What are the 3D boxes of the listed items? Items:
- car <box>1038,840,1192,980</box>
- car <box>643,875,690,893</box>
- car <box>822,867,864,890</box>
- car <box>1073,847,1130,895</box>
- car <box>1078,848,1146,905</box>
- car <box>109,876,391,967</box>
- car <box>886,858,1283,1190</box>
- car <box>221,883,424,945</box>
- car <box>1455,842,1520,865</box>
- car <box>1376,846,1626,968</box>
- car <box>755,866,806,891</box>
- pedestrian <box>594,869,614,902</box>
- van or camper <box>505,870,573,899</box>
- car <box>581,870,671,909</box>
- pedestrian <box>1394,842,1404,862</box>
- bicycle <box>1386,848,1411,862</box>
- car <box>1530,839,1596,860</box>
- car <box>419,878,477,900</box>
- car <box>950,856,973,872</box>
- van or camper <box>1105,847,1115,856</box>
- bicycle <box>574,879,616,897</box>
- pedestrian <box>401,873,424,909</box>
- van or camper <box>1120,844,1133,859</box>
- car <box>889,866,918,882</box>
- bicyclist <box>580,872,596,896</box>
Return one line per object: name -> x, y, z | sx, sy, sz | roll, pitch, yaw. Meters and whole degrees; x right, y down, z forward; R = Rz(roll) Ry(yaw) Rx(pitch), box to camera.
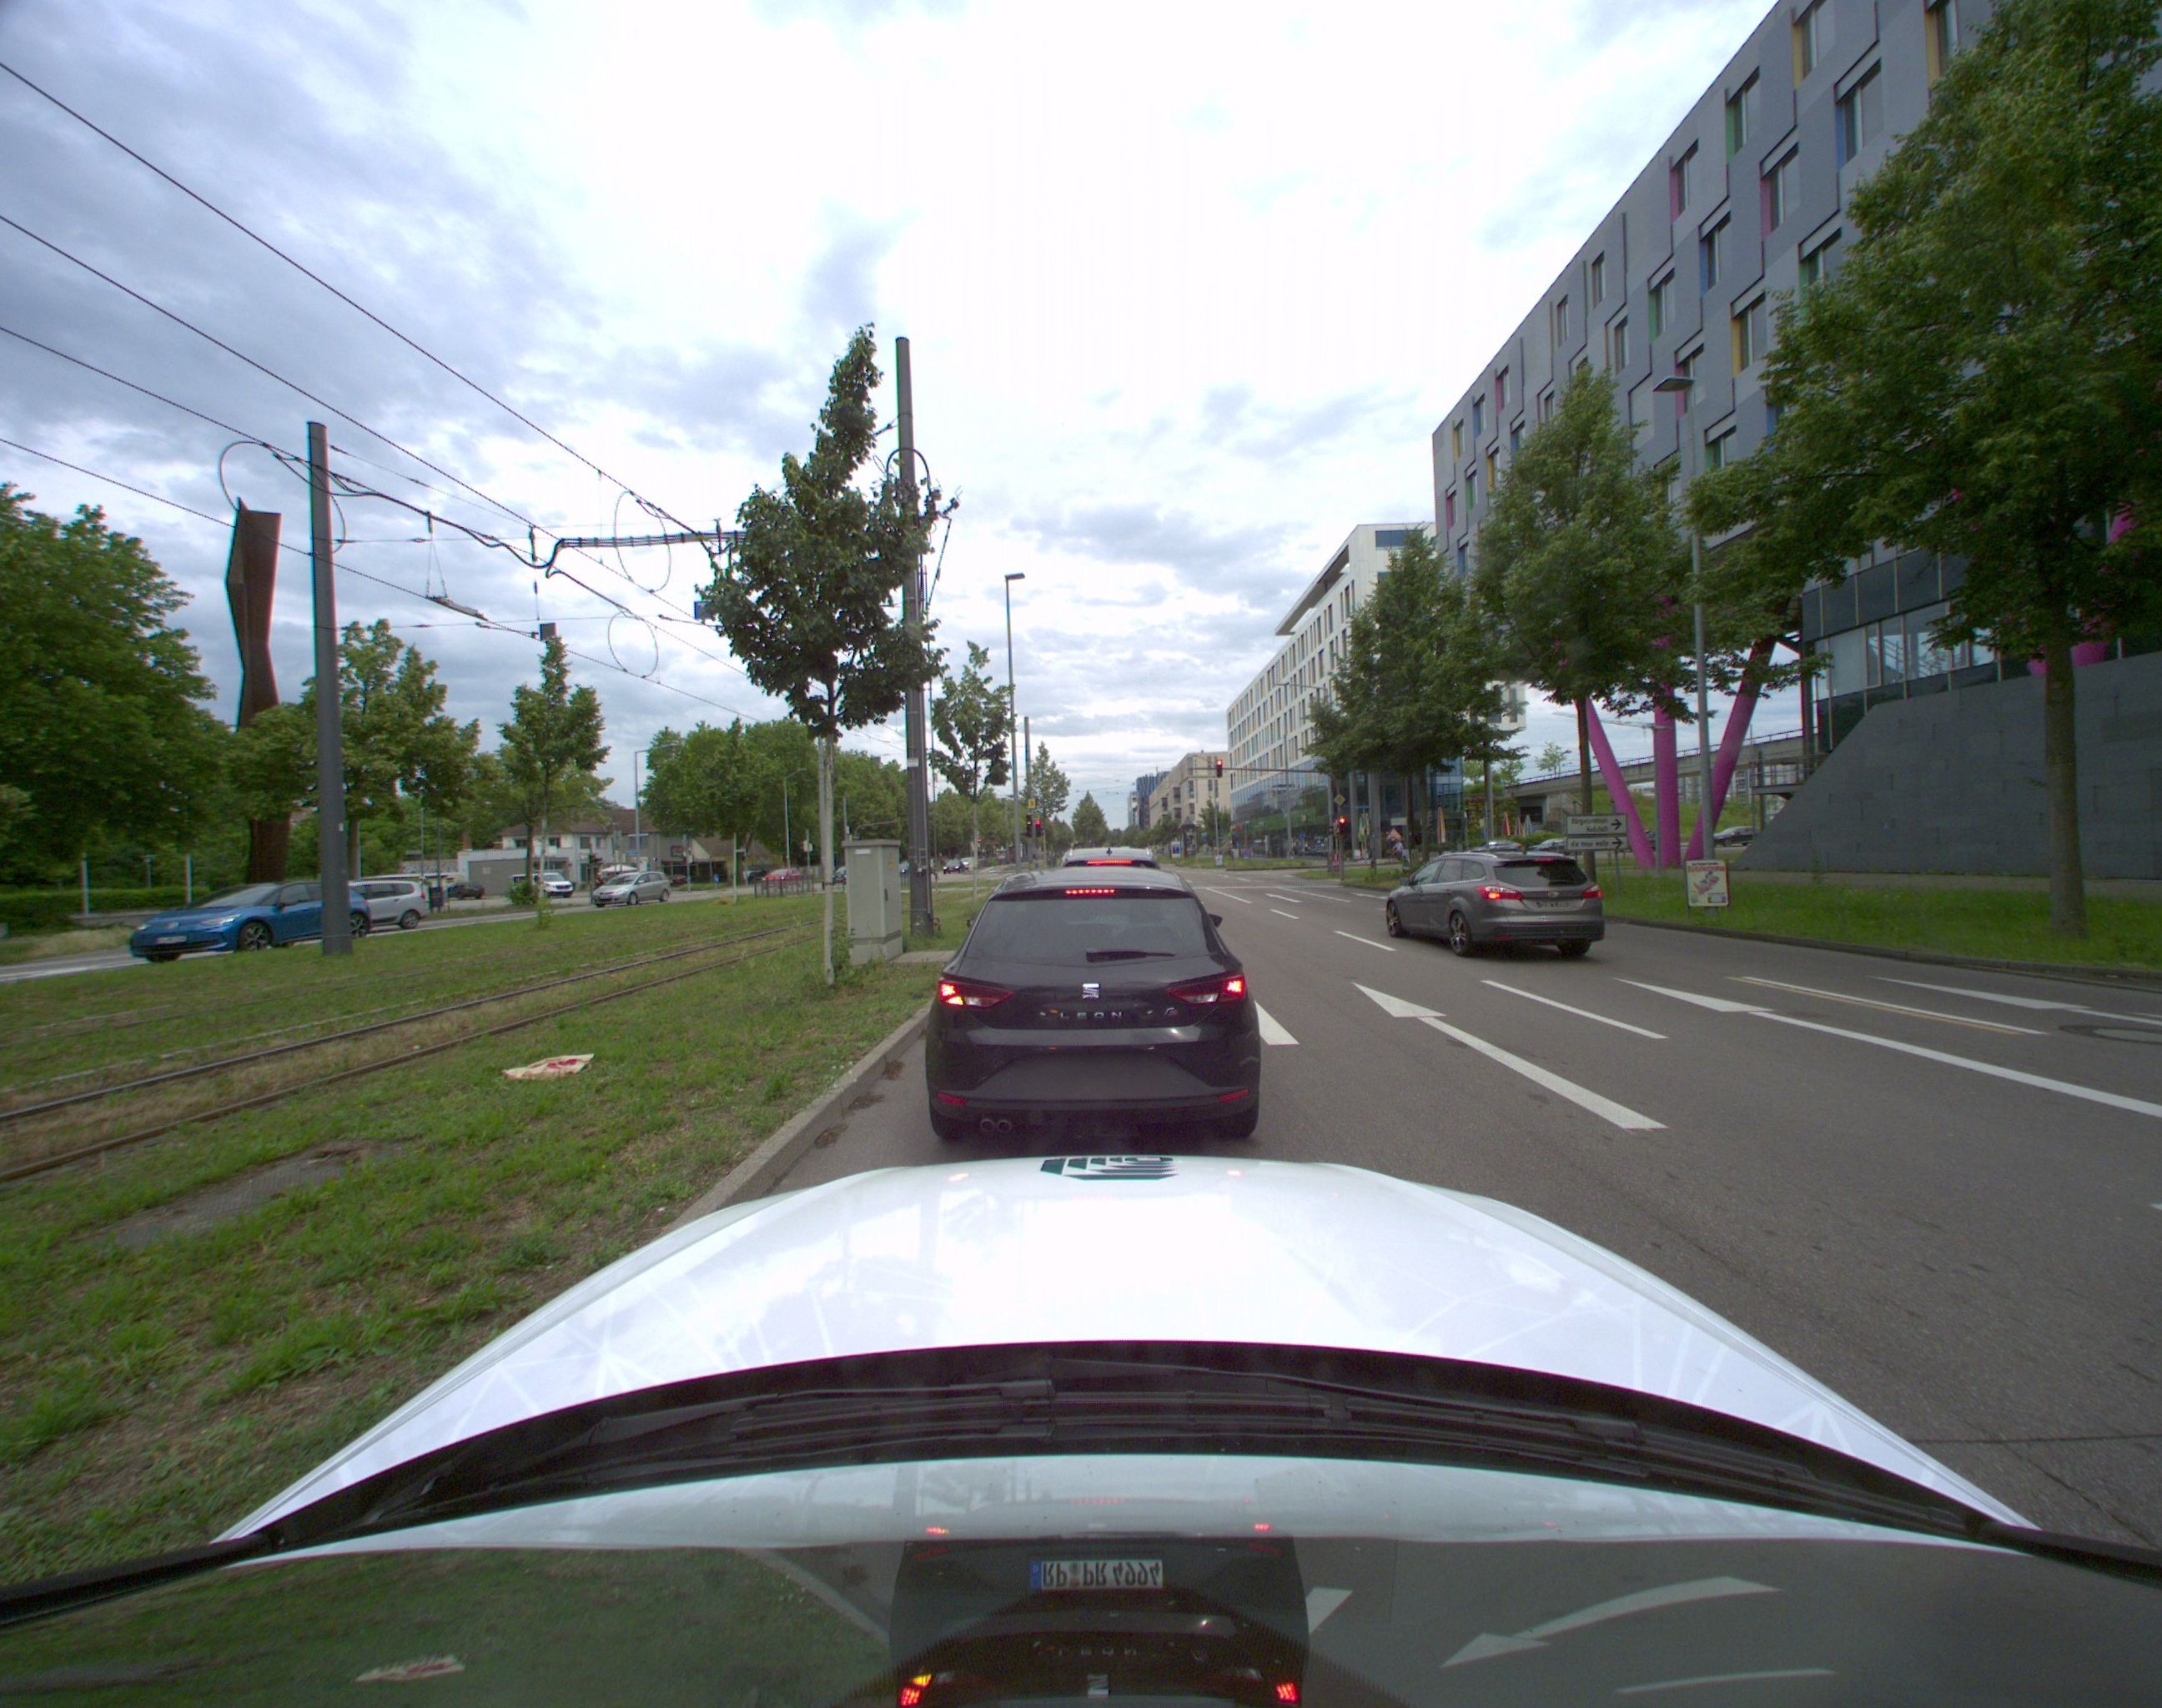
car -> 0.474, 0.673, 11.824 | 1.796, 1.624, 4.002 | -2, 0, 2
car -> -47.142, 3.371, 92.716 | 4.258, 1.816, 2.111 | -2, 0, 6
car -> -17.997, 1.825, 61.769 | 1.658, 1.426, 4.746 | -3, 0, 1
car -> 0.848, 0.601, 31.276 | 1.985, 1.682, 4.004 | -1, 0, 4
car -> 1.077, 0.656, 26.205 | 1.984, 1.682, 4.005 | -1, 0, 5
car -> -18.257, 1.369, 18.308 | 1.963, 1.588, 4.675 | -1, 0, -8
car -> 0.052, 0.759, 5.602 | 1.737, 1.417, 4.001 | -1, 0, 1
car -> -22.518, 1.712, 24.482 | 1.790, 1.571, 4.578 | 0, -1, 0
car -> 31.844, -0.055, 63.873 | 4.233, 1.615, 1.759 | -2, 0, 3
car -> 6.211, 0.663, 12.672 | 1.741, 1.499, 4.270 | -2, 1, 1
car -> -21.589, 1.739, 58.726 | 1.789, 1.570, 4.331 | -2, 0, 3
pedestrian -> -27.712, 1.811, 47.320 | 0.779, 1.832, 0.771 | -2, 0, -16
van or camper -> -41.570, 2.321, 62.413 | 5.212, 2.013, 2.481 | -2, 0, 34
car -> -22.151, 1.688, 39.886 | 1.715, 1.643, 4.674 | -2, 0, 0
pedestrian -> 25.713, -0.179, 65.856 | 0.612, 1.604, 0.619 | -2, 0, 4
bicycle -> 25.677, 0.085, 65.857 | 1.784, 1.085, 0.618 | -2, 0, 3
car -> 37.860, -0.349, 64.050 | 4.063, 1.455, 1.759 | -2, 0, 3
car -> -59.857, 3.315, 77.058 | 3.969, 1.849, 2.002 | -2, 0, 4
car -> -14.076, 1.162, 95.999 | 1.987, 1.750, 4.201 | -2, 0, 1
van or camper -> 5.998, -0.508, 165.772 | 1.986, 1.615, 4.792 | -1, 1, 2
bicycle -> -35.300, 2.474, 59.177 | 2.520, 1.202, 0.734 | -2, 0, -25
pedestrian -> -37.722, 2.073, 45.943 | 0.910, 2.013, 0.942 | -2, 0, -40
van or camper -> 7.623, -0.394, 135.960 | 2.101, 2.355, 4.927 | -1, 2, 2
car -> -17.190, 1.950, 78.915 | 1.795, 1.377, 4.058 | -2, 0, 1
bicyclist -> -35.694, 2.159, 58.987 | 0.854, 1.721, 0.715 | -2, 0, -25
